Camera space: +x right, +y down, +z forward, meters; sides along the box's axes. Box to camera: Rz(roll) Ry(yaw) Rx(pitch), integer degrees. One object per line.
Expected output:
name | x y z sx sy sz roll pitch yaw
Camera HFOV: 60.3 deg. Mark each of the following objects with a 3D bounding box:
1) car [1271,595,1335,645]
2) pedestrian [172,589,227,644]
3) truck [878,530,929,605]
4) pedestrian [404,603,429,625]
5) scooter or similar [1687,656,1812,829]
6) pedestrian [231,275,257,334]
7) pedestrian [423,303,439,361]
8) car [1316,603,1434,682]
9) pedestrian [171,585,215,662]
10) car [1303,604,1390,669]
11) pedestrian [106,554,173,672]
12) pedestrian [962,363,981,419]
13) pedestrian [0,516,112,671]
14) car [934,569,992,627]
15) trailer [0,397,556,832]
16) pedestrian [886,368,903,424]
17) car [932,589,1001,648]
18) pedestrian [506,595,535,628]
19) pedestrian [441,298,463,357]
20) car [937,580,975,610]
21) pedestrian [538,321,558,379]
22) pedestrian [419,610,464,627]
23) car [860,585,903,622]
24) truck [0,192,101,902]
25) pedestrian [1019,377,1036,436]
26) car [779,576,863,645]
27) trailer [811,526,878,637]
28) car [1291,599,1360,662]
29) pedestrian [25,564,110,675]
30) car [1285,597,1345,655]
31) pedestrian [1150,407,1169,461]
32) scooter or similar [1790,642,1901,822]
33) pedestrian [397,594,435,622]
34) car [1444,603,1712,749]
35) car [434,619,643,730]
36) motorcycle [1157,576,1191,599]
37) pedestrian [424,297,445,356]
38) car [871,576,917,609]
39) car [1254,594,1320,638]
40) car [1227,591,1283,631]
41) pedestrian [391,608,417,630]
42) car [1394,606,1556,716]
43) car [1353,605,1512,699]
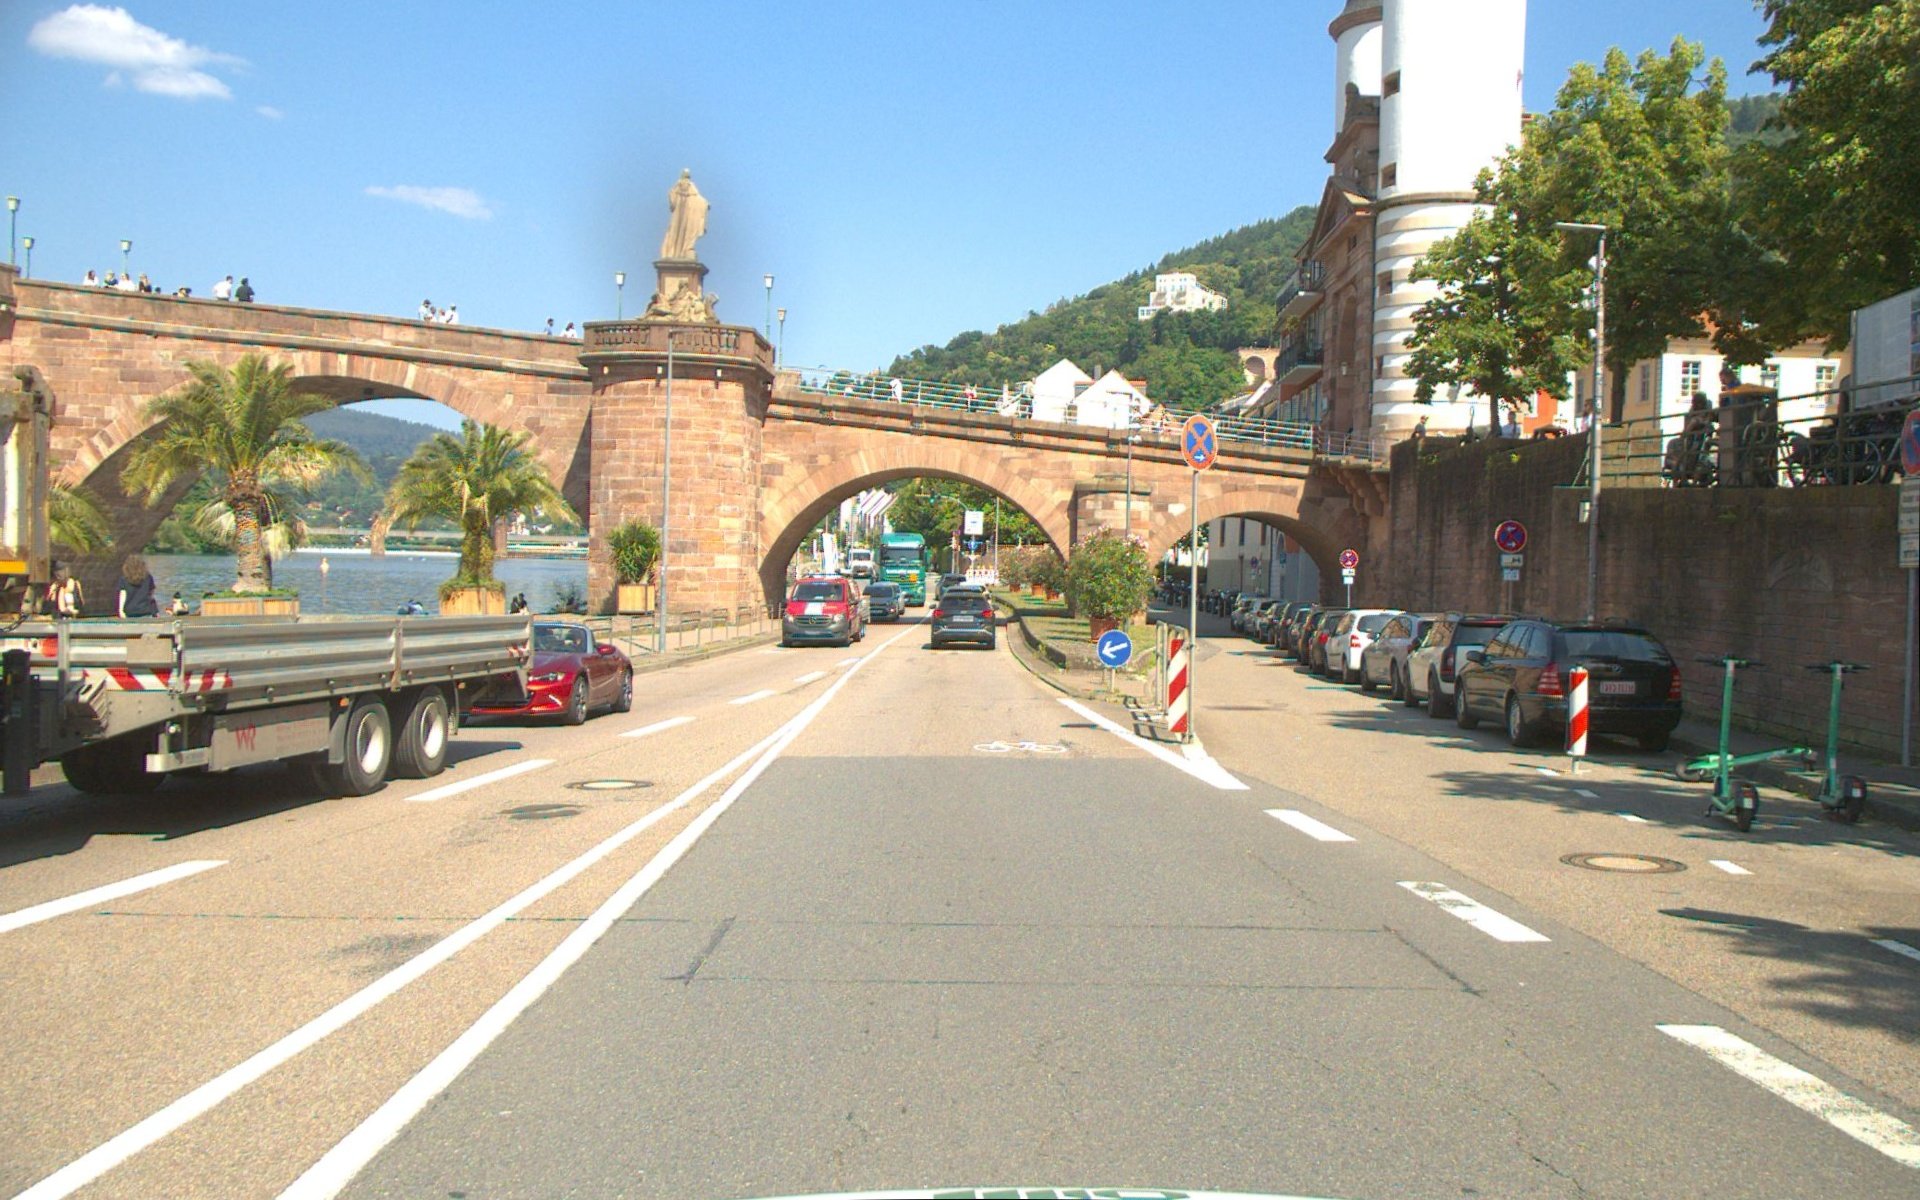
car | 11.227 0.638 54.327 1.738 1.528 3.990 0 1 7
pedestrian | -16.475 0.358 35.822 0.921 1.165 0.508 -1 0 6
truck | -2.980 -1.794 88.229 2.472 3.813 6.247 -1 2 0
pedestrian | -15.331 0.395 46.686 0.453 0.574 0.515 -3 0 11
scooter or similar | 5.651 0.984 11.902 0.520 1.109 1.440 0 0 13
pedestrian | -26.068 -10.764 60.252 0.679 2.049 0.625 0 0 -2
pedestrian | -19.545 -9.898 61.154 0.449 2.049 0.553 0 0 -6
car | 8.563 0.843 34.363 1.675 1.483 3.549 1 0 2
pedestrian | -16.332 0.498 35.227 0.664 1.629 0.595 0 0 1
car | 8.941 0.803 38.518 1.674 1.413 4.411 0 0 9
pedestrian | -12.268 0.182 24.723 0.787 1.721 0.836 1 1 -35
pedestrian | 0.439 -7.978 63.183 0.670 2.049 0.586 0 0 1
pedestrian | -10.585 -0.080 19.214 0.799 1.730 1.151 1 0 2
car | 0.137 -0.106 60.886 1.952 2.049 4.001 0 0 2
trailer | -5.675 0.106 13.358 2.641 2.575 6.951 -1 0 4
pedestrian | -2.498 -7.790 63.129 0.569 2.049 0.586 0 0 1
car | 0.226 0.475 45.946 1.818 1.550 4.001 0 1 1
pedestrian | -16.888 0.428 63.551 0.711 1.262 1.146 1 0 5
pedestrian | -18.638 -10.005 60.707 0.611 2.049 0.694 0 0 -6
car | -0.246 -0.284 96.608 1.954 1.691 3.997 1 0 -3
pedestrian | -15.132 -9.182 60.780 0.611 2.049 0.694 0 0 -6
pedestrian | -14.307 0.506 45.644 0.631 0.429 1.742 -1 1 2
car | -3.273 0.140 69.165 1.503 1.462 3.729 -1 1 1
truck | -6.270 -0.252 5.161 2.586 3.517 7.875 -1 0 4
pedestrian | 2.445 -7.047 60.224 0.610 2.049 0.695 0 0 2
car | -3.913 0.251 47.147 1.835 1.859 4.545 0 1 2
trailer | -3.629 -0.592 52.433 1.705 3.378 3.385 -1 1 3
car | 9.518 0.754 43.257 1.463 1.510 3.719 1 1 8
pedestrian | -13.070 0.282 24.247 0.780 1.560 1.111 -3 0 -14
car | 10.267 0.731 47.982 1.557 1.547 3.907 1 1 11
pedestrian | 7.884 -6.553 65.263 0.670 2.049 0.586 0 0 1
scooter or similar | 6.683 0.961 12.529 0.520 1.252 1.272 0 0 18
pedestrian | -15.412 0.228 46.896 0.770 0.755 0.711 1 1 11
car | 7.179 0.801 19.714 1.804 1.475 4.537 1 0 5
car | -5.283 0.890 21.170 1.636 1.215 3.630 -1 0 2
motorcycle | 12.711 -0.748 98.061 2.174 1.289 0.620 0 2 -37
pedestrian | -19.232 -10.008 60.548 0.611 2.049 0.694 0 0 -6
car | -3.046 -0.335 77.441 1.687 1.462 4.402 -1 0 4
car | 11.735 0.542 59.536 1.738 1.462 4.495 1 1 4
car | 12.309 0.432 69.272 1.853 1.518 4.419 0 1 4
pedestrian | -15.250 0.524 45.348 0.453 0.574 0.515 -3 0 11
car | 7.595 0.847 24.699 1.577 1.438 3.906 1 0 6
car | 8.281 0.863 29.386 1.717 1.457 4.758 1 0 4
